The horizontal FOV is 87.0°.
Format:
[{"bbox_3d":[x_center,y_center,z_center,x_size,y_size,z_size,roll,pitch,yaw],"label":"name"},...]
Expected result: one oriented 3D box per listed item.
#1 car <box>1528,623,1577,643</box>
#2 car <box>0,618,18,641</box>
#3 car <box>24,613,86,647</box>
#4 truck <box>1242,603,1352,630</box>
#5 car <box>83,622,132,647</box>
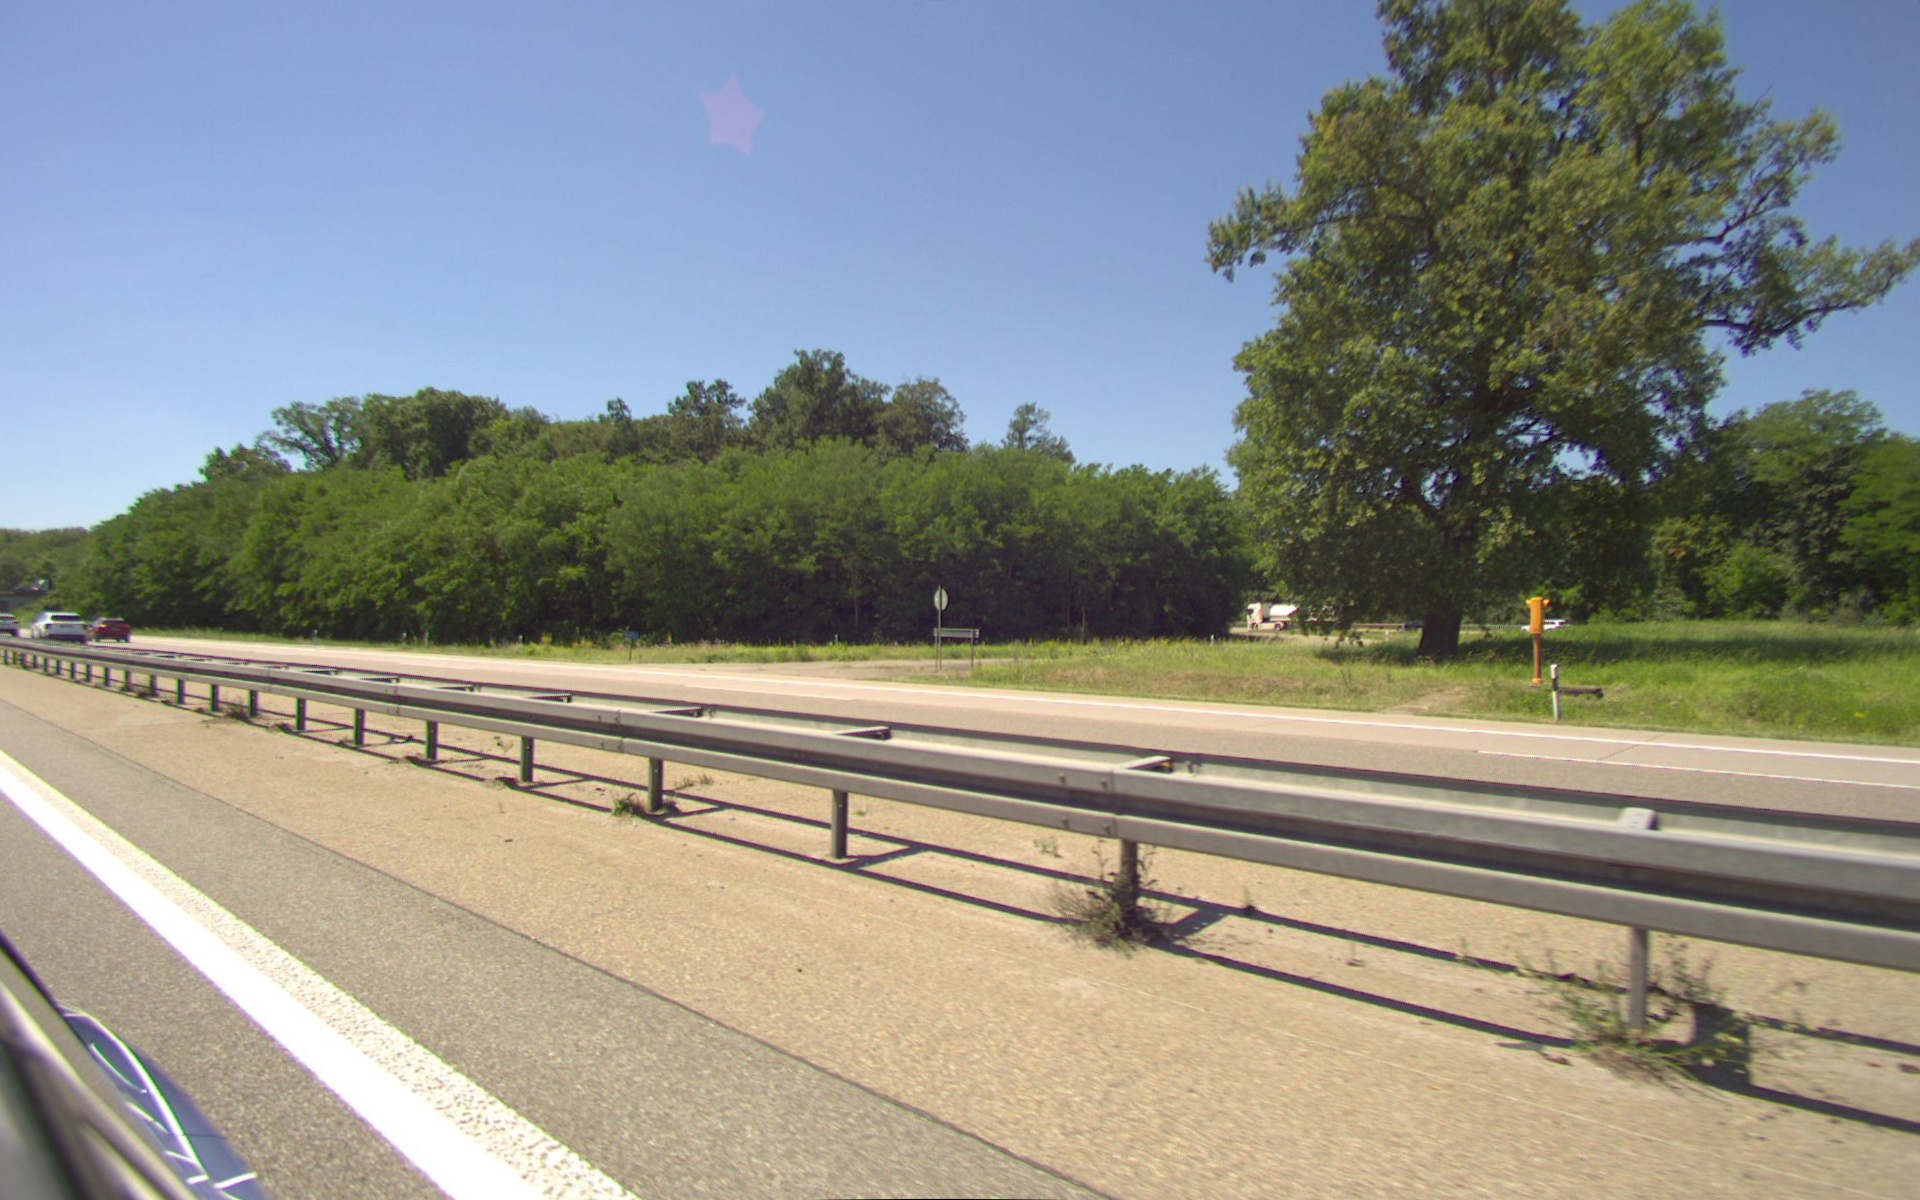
[{"bbox_3d":[57.735,3.205,98.626,1.756,1.829,4.011,-1,0,-15],"label":"car"},{"bbox_3d":[-73.724,2.223,77.569,4.816,1.705,1.744,-1,-2,41],"label":"car"},{"bbox_3d":[-47.647,1.538,53.264,5.122,1.705,1.792,-1,-2,41],"label":"car"},{"bbox_3d":[42.766,2.073,129.235,2.662,3.307,14.821,-1,0,-33],"label":"truck"},{"bbox_3d":[-53.827,2.164,63.869,4.073,1.506,1.744,-1,-3,41],"label":"car"}]
